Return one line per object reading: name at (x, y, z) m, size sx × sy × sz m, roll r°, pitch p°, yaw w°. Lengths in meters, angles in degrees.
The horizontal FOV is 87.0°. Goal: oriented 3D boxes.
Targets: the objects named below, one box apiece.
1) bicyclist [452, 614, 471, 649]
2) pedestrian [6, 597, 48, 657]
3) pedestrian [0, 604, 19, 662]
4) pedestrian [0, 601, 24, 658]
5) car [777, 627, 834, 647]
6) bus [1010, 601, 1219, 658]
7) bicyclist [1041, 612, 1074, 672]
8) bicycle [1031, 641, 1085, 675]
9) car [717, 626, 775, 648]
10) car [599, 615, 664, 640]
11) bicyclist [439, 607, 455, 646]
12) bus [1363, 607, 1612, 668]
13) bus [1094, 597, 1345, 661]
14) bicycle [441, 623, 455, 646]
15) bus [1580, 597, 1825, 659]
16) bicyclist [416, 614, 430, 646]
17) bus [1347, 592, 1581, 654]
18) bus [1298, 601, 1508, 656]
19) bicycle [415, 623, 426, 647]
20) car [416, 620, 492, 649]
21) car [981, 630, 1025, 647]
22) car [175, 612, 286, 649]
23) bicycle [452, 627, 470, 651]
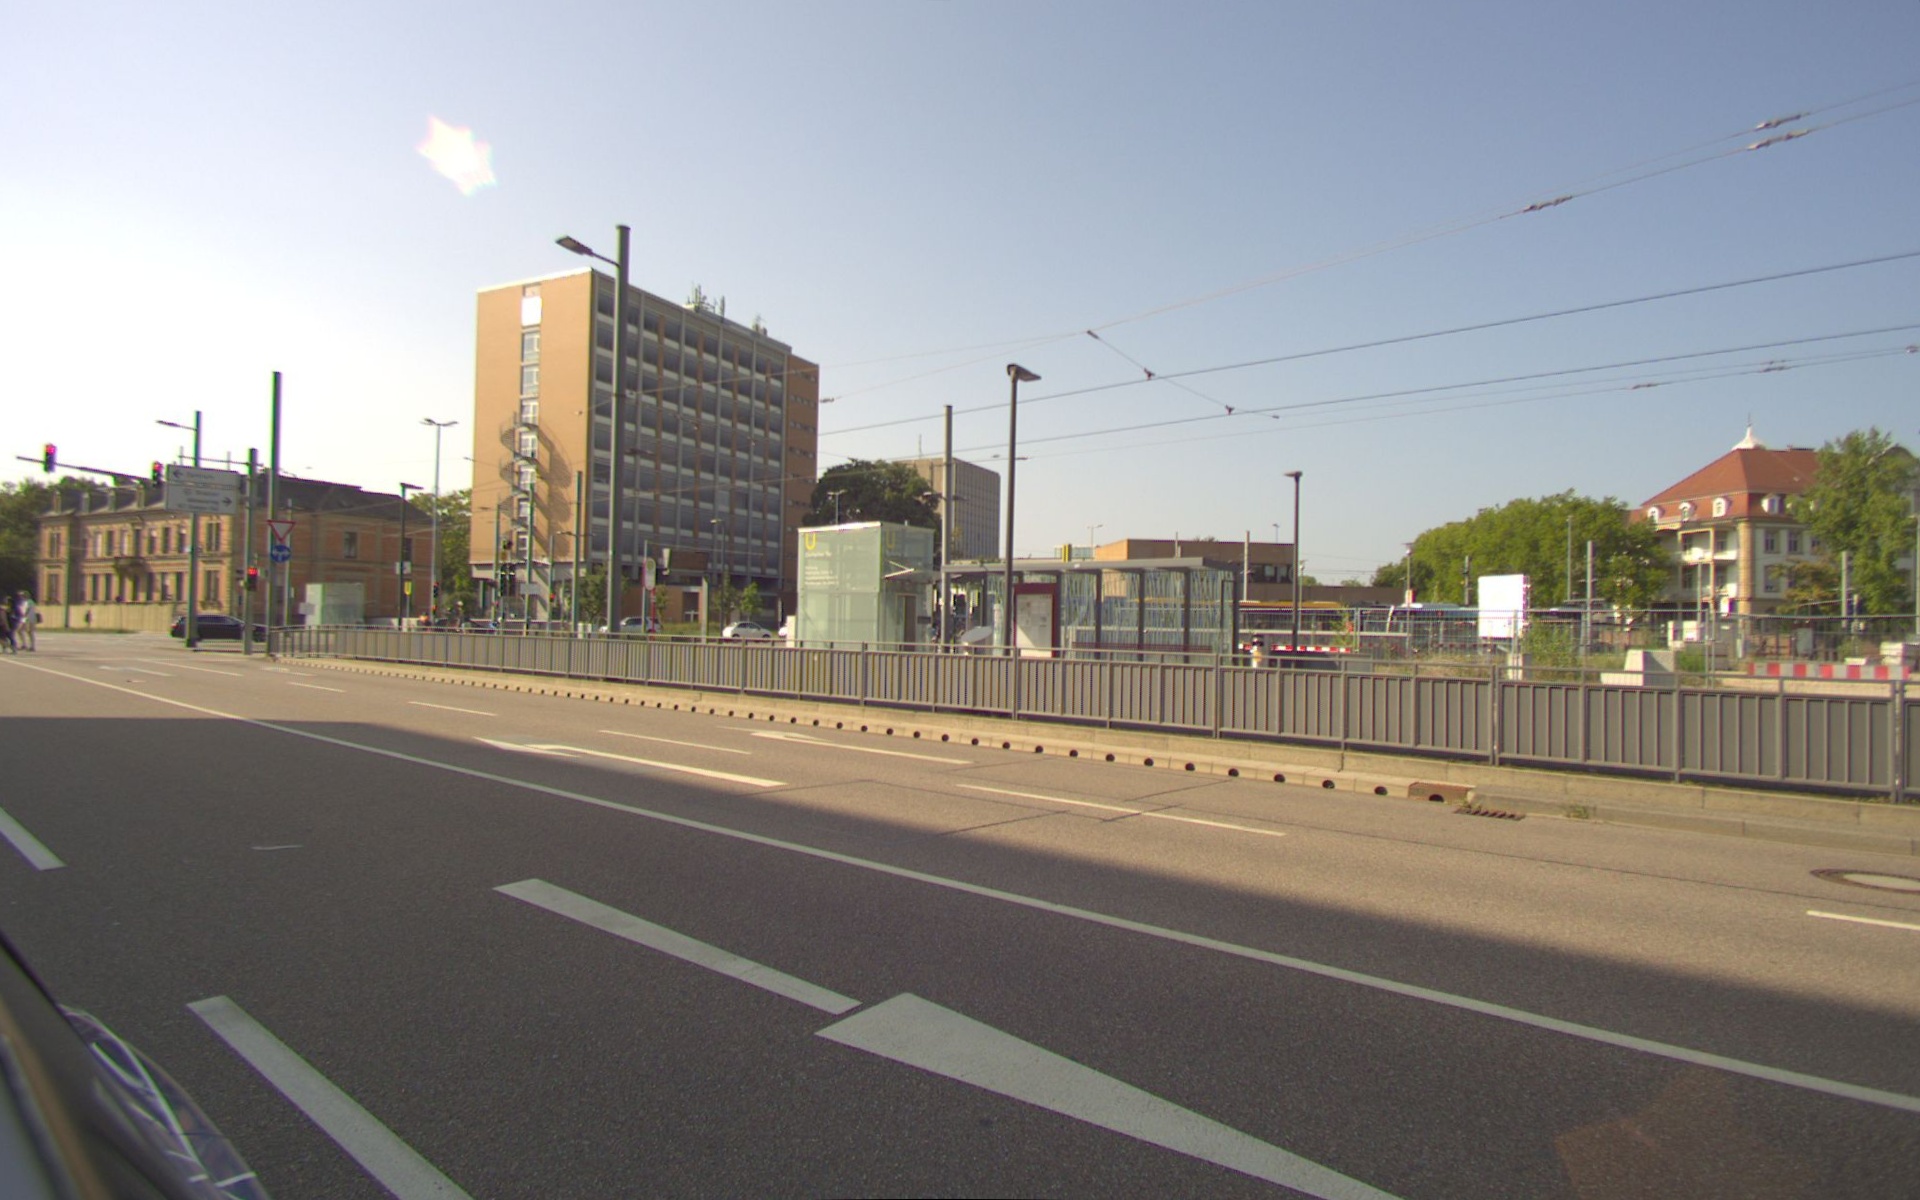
bicyclist at (-24.094, 1.518, 48.942) m, size 0.580 × 1.669 × 0.791 m, roll 3°, pitch -3°, yaw -42°
pedestrian at (-29.220, 0.847, 31.696) m, size 0.822 × 1.802 × 0.730 m, roll 6°, pitch -5°, yaw -42°
pedestrian at (-26.344, 0.897, 27.637) m, size 0.547 × 1.559 × 0.799 m, roll -1°, pitch -5°, yaw 41°
pedestrian at (-27.466, 0.843, 29.103) m, size 0.467 × 1.610 × 0.626 m, roll 0°, pitch -5°, yaw 38°
car at (-11.722, 2.796, 76.874) m, size 3.931 × 1.426 × 1.809 m, roll 2°, pitch -2°, yaw -29°
bus at (10.084, 1.990, 66.475) m, size 13.109 × 3.445 × 3.229 m, roll 1°, pitch -2°, yaw -6°
bicyclist at (2.883, 1.236, 29.938) m, size 0.819 × 1.760 × 0.481 m, roll -1°, pitch -3°, yaw 40°
bicycle at (2.886, 1.708, 30.012) m, size 1.694 × 0.961 × 0.346 m, roll -1°, pitch -3°, yaw 41°
car at (-14.913, 2.587, 70.621) m, size 3.554 × 1.426 × 1.809 m, roll 2°, pitch -2°, yaw -30°
car at (-24.782, 2.122, 76.389) m, size 4.218 × 1.720 × 1.957 m, roll 2°, pitch -5°, yaw -34°
bicyclist at (-26.769, 1.389, 52.810) m, size 0.571 × 1.989 × 0.809 m, roll 2°, pitch -3°, yaw -36°
bus at (29.887, 2.138, 57.548) m, size 13.104 × 3.203 × 3.231 m, roll 1°, pitch -2°, yaw -8°
bus at (14.191, 1.616, 55.677) m, size 13.105 × 3.203 × 3.230 m, roll 1°, pitch -2°, yaw -8°
bicycle at (-26.671, 1.785, 52.705) m, size 0.371 × 1.174 × 1.864 m, roll 2°, pitch -3°, yaw -35°
bus at (44.594, 1.725, 60.908) m, size 13.109 × 3.445 × 3.229 m, roll 1°, pitch -2°, yaw -6°
bicyclist at (-27.599, 1.554, 51.992) m, size 0.503 × 1.642 × 0.809 m, roll 2°, pitch -3°, yaw -36°
bus at (30.620, 1.451, 61.702) m, size 13.109 × 3.445 × 3.229 m, roll 1°, pitch -2°, yaw -6°
bus at (29.960, 1.965, 68.638) m, size 13.109 × 3.445 × 3.229 m, roll 1°, pitch -2°, yaw -6°
bicycle at (-27.707, 1.795, 51.987) m, size 0.306 × 1.174 × 1.503 m, roll 2°, pitch -3°, yaw -35°
car at (-29.772, 2.040, 59.571) m, size 3.931 × 1.608 × 2.006 m, roll 2°, pitch -2°, yaw -27°
car at (3.788, 3.400, 89.202) m, size 3.496 × 1.446 × 1.809 m, roll 2°, pitch -2°, yaw -30°
car at (-38.841, 1.627, 54.033) m, size 4.496 × 1.866 × 2.006 m, roll 2°, pitch -2°, yaw -28°
bicycle at (-24.150, 1.892, 48.965) m, size 0.396 × 1.118 × 1.749 m, roll 3°, pitch -3°, yaw -39°
